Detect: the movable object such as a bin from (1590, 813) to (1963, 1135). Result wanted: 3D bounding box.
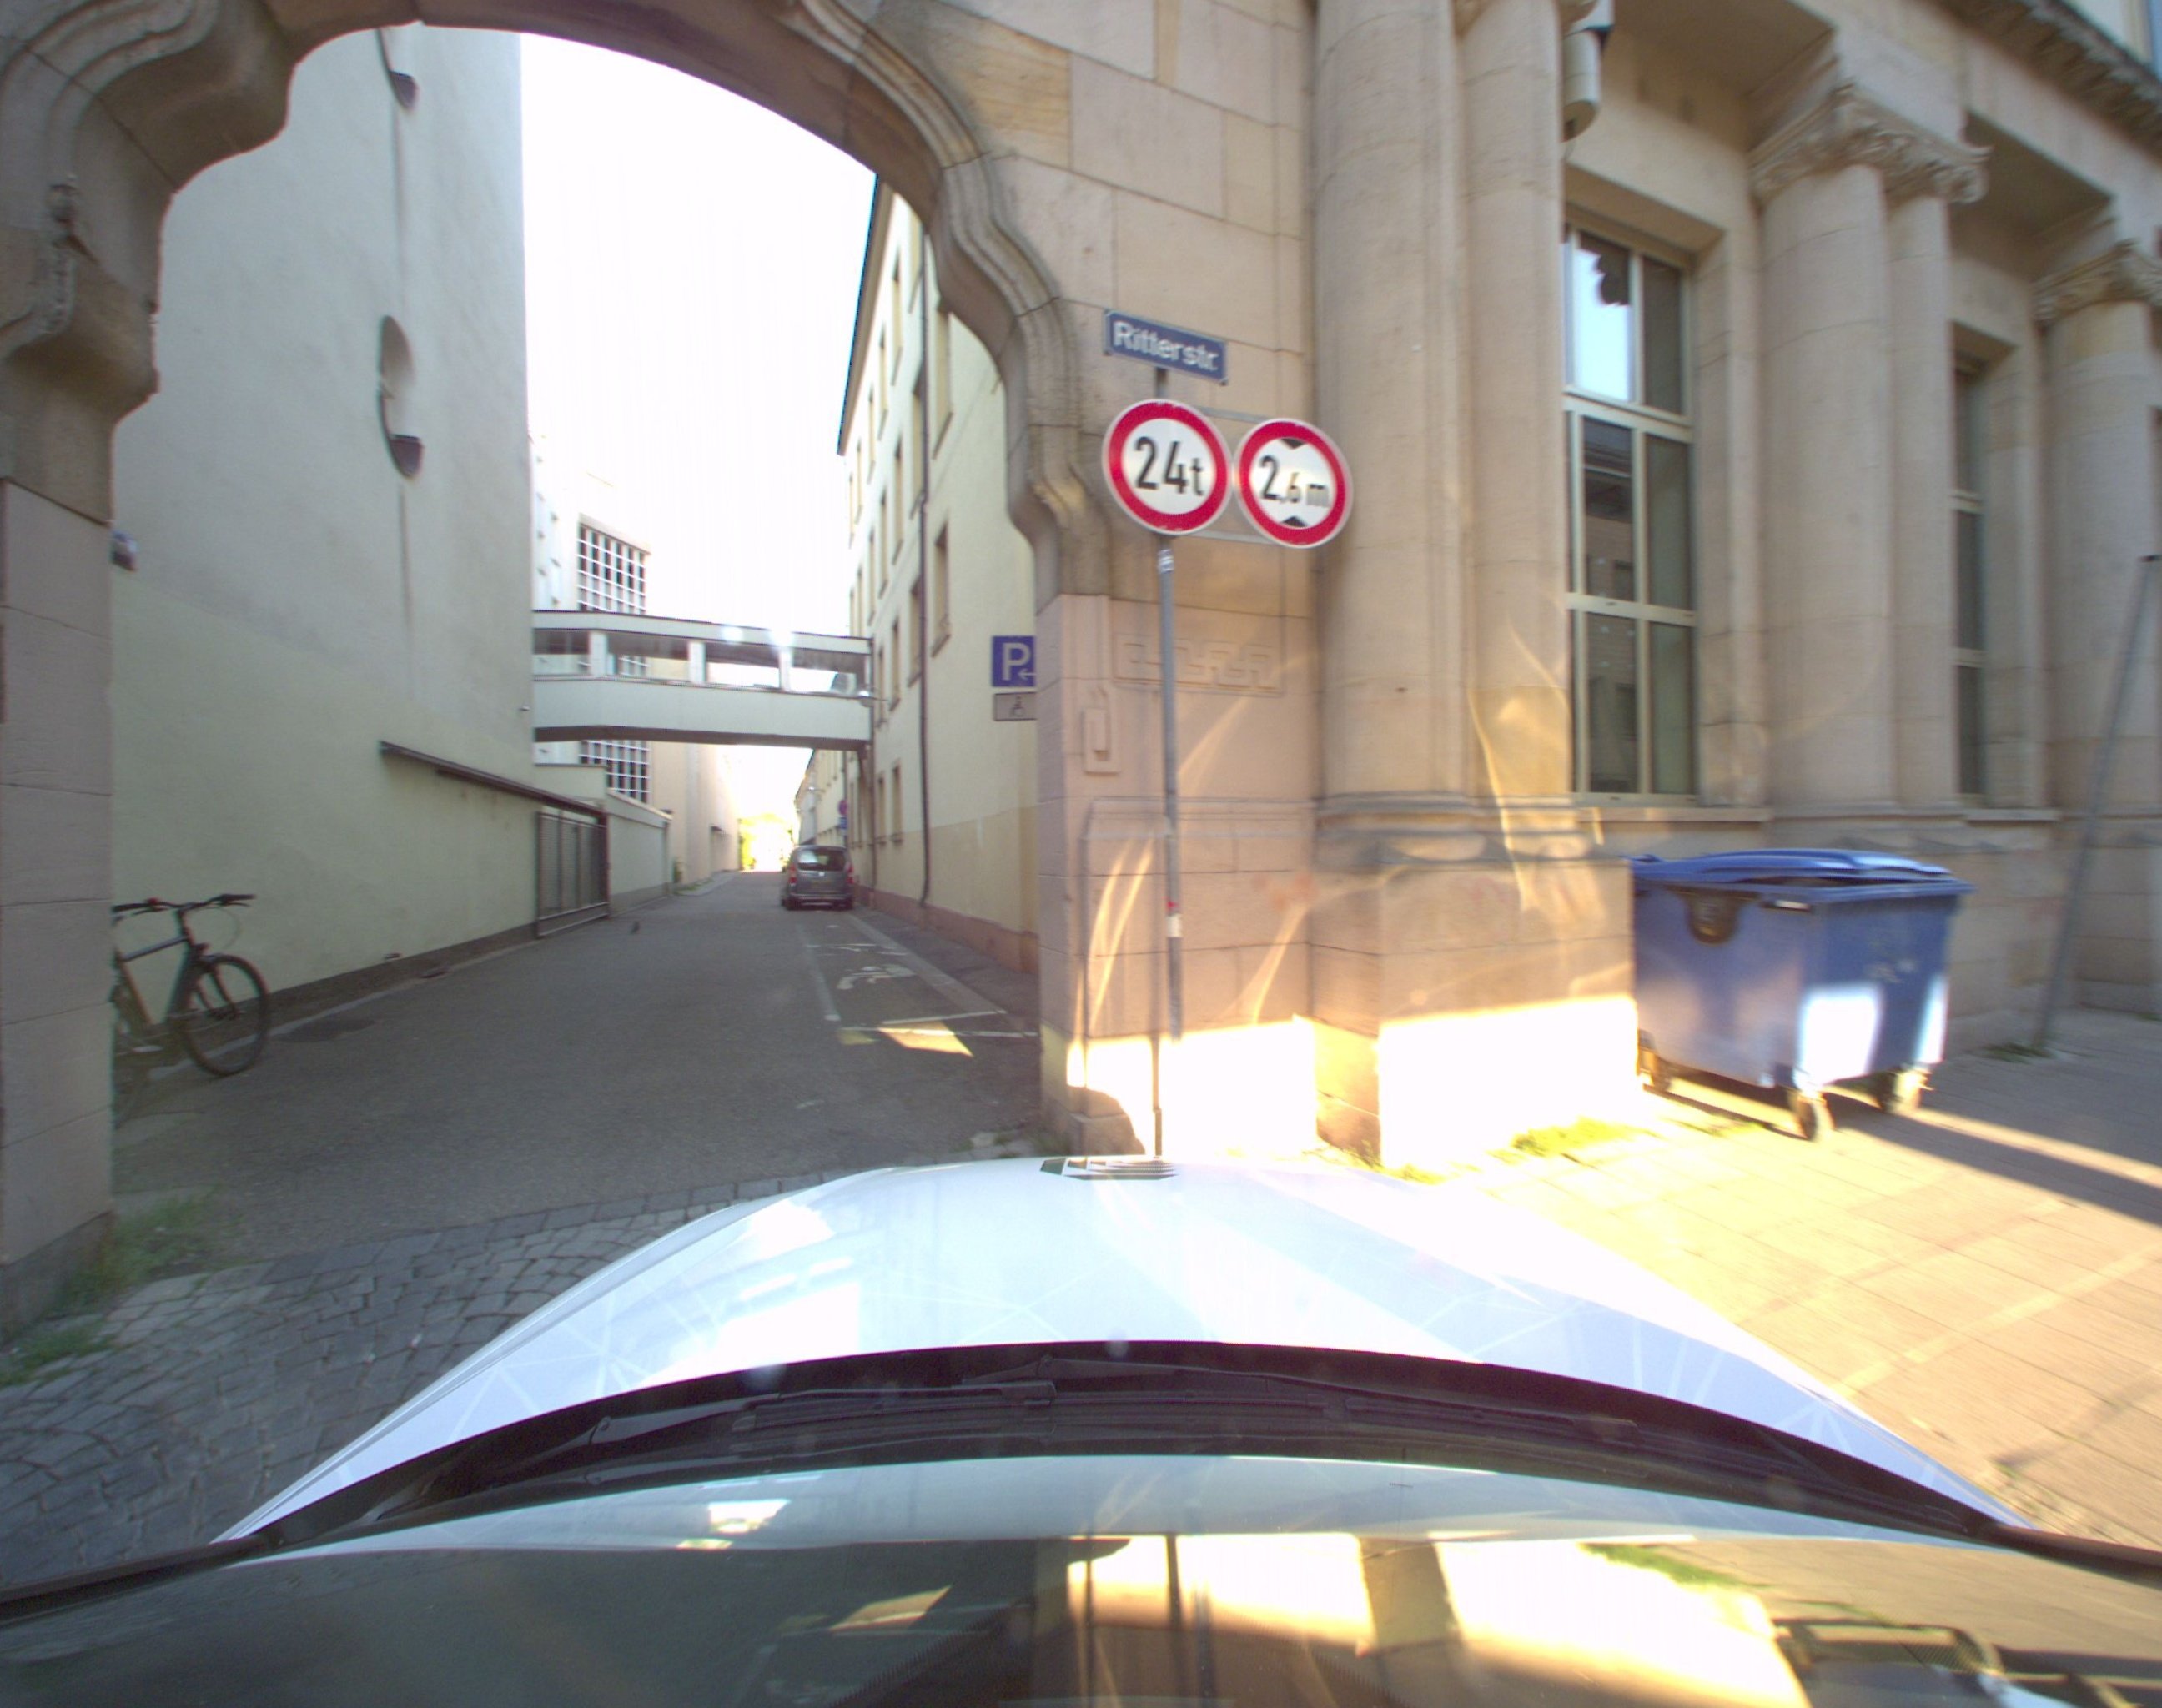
[{"bbox_3d":[3.691,0.528,4.414,1.186,1.474,1.071,-1,2,-17],"label":"movable object such as a bin"}]

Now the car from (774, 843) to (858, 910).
[{"bbox_3d":[-7.814,0.652,23.791,1.863,1.756,4.129,2,-2,-24],"label":"car"}]

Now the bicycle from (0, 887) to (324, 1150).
[{"bbox_3d":[-4.949,0.759,4.431,0.597,1.079,1.743,-1,0,-21],"label":"bicycle"}]
